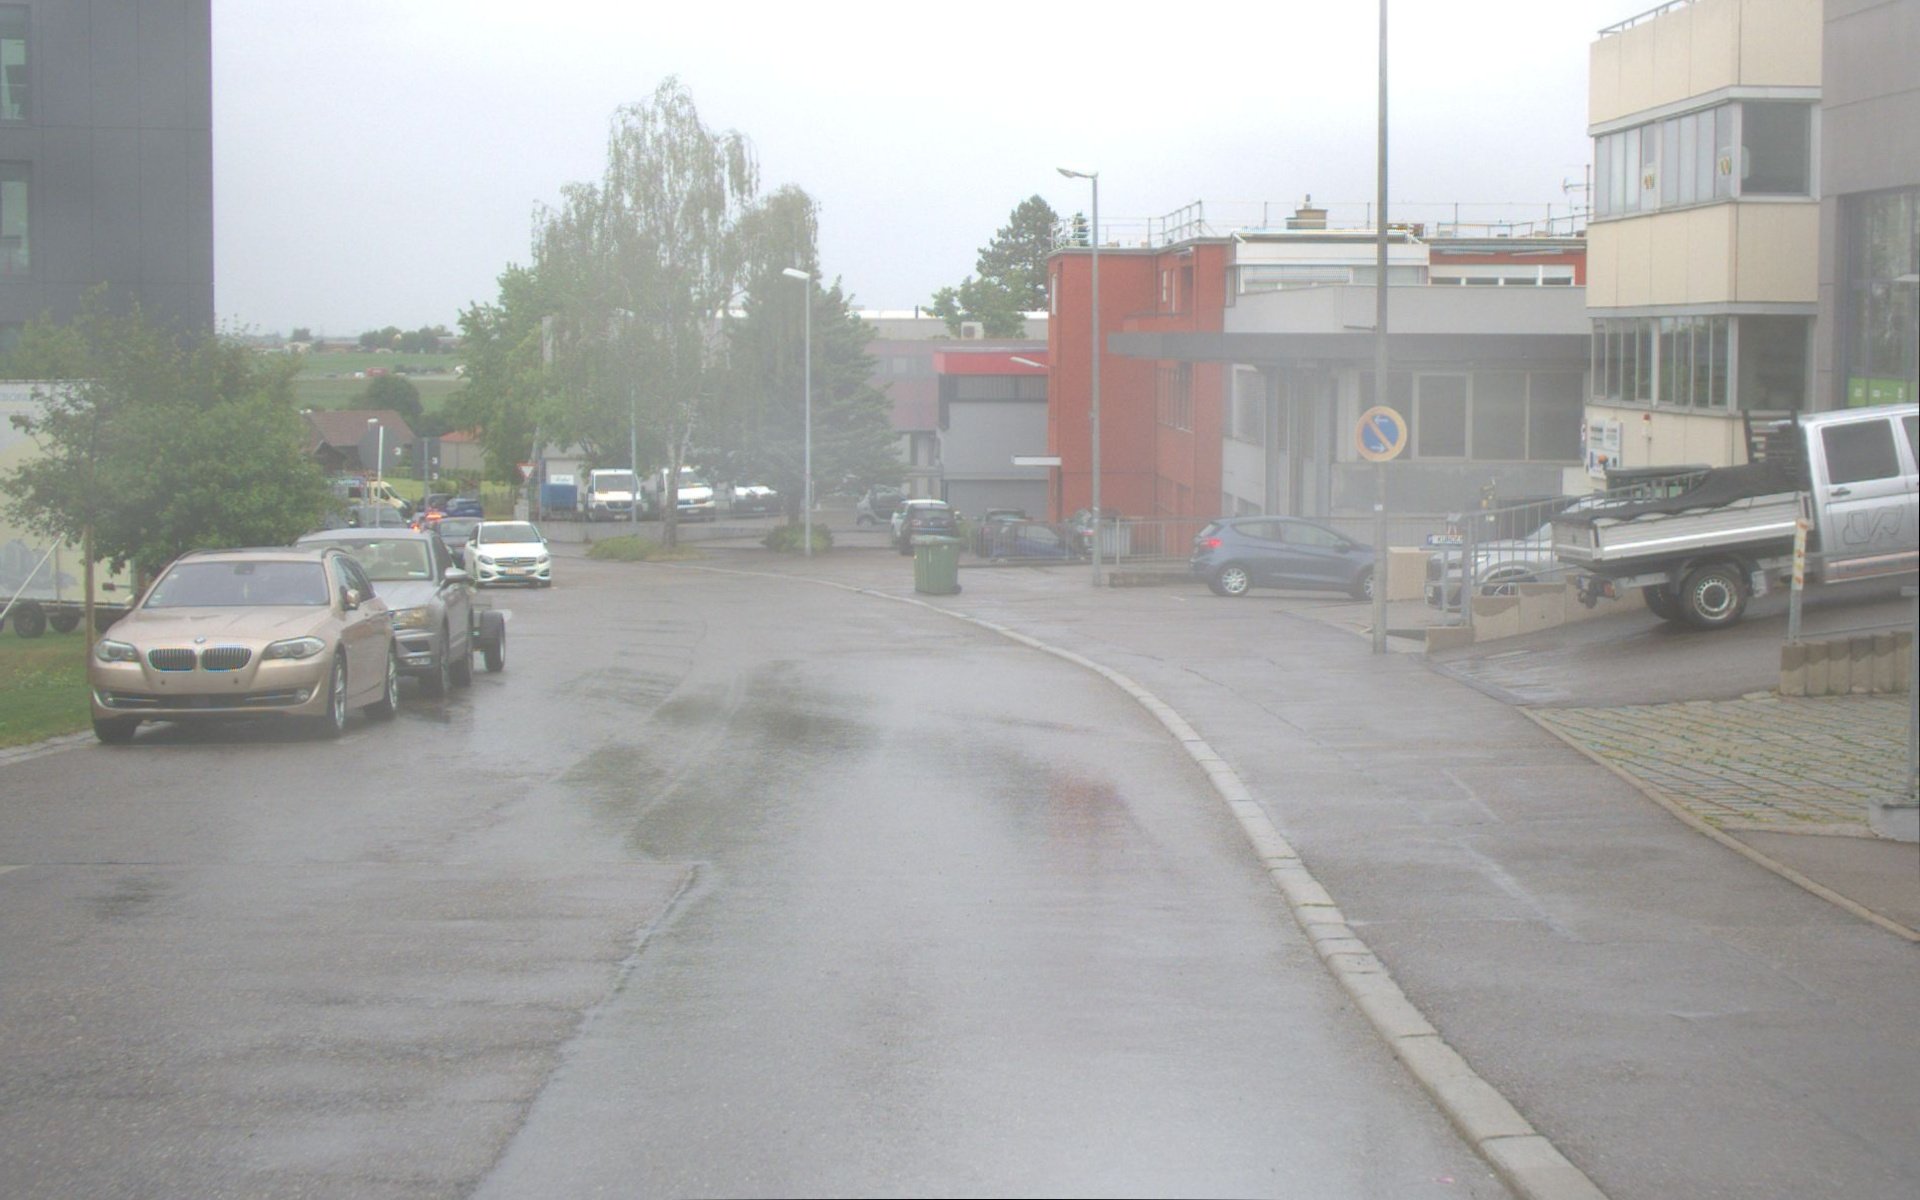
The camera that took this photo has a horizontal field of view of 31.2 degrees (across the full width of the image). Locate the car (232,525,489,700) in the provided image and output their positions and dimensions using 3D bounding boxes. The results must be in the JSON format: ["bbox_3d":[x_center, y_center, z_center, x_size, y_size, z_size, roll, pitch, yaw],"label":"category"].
[{"bbox_3d":[-5.882,0.089,34.235,1.957,1.571,4.841,-1,1,-3],"label":"car"}]

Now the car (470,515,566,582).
[{"bbox_3d":[-10.550,-1.218,81.870,1.769,1.507,4.146,-2,1,-14],"label":"car"}]

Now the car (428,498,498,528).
[{"bbox_3d":[-26.691,-4.646,184.639,2.460,1.534,4.000,-1,1,-29],"label":"car"}]

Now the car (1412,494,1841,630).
[{"bbox_3d":[8.523,-0.507,44.213,5.091,1.608,1.925,-1,2,-2],"label":"car"}]

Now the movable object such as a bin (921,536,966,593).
[{"bbox_3d":[-0.316,-0.683,65.780,0.775,1.072,0.584,-1,2,-7],"label":"movable object such as a bin"}]

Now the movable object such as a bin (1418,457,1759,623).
[{"bbox_3d":[8.398,-0.812,46.098,4.254,2.103,1.477,-1,1,-1],"label":"movable object such as a bin"}]

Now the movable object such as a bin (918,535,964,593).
[{"bbox_3d":[-0.374,-0.699,66.352,0.809,1.087,0.542,-1,2,-7],"label":"movable object such as a bin"}]

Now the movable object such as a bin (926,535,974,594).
[{"bbox_3d":[-0.192,-0.672,65.136,0.806,1.089,0.709,-1,2,-7],"label":"movable object such as a bin"}]

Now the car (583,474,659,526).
[{"bbox_3d":[-13.788,-4.038,139.617,2.264,2.007,4.001,-1,1,-17],"label":"car"}]

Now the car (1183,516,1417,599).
[{"bbox_3d":[6.005,-0.748,61.021,3.894,1.379,1.821,1,1,-3],"label":"car"}]

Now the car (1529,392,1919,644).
[{"bbox_3d":[8.749,-0.955,34.952,5.298,2.006,2.222,-8,1,-2],"label":"car"}]

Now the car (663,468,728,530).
[{"bbox_3d":[-10.798,-4.092,140.153,2.192,2.451,4.001,-1,1,-10],"label":"car"}]

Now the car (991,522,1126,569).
[{"bbox_3d":[2.499,-1.400,87.835,3.400,1.159,1.792,0,2,0],"label":"car"}]

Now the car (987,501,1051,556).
[{"bbox_3d":[1.804,-2.191,106.321,1.739,1.648,4.000,-1,1,-2],"label":"car"}]

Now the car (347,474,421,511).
[{"bbox_3d":[-36.556,-6.812,218.262,4.241,2.218,2.000,-1,1,4],"label":"car"}]

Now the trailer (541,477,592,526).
[{"bbox_3d":[-16.437,-4.095,143.536,1.852,2.006,4.001,-1,2,-10],"label":"trailer"}]

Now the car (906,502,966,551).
[{"bbox_3d":[-0.756,-2.241,105.564,1.697,1.470,4.000,-1,1,-2],"label":"car"}]

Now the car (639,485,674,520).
[{"bbox_3d":[-12.877,-4.132,145.683,1.290,1.419,2.547,-1,1,-9],"label":"car"}]

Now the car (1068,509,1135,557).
[{"bbox_3d":[4.325,-2.033,105.416,1.729,1.417,4.000,-1,1,-2],"label":"car"}]

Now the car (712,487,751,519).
[{"bbox_3d":[-9.767,-4.149,146.790,1.398,1.321,2.702,-1,1,-9],"label":"car"}]

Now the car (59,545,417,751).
[{"bbox_3d":[-5.709,0.307,27.862,1.956,1.456,5.248,-1,1,-2],"label":"car"}]

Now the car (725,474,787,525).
[{"bbox_3d":[-8.393,-4.118,141.212,2.145,2.007,3.940,-1,1,-9],"label":"car"}]

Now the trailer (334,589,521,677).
[{"bbox_3d":[-5.929,0.348,38.622,1.680,0.885,3.898,-1,1,-3],"label":"trailer"}]

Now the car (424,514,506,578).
[{"bbox_3d":[-13.378,-1.468,92.789,1.700,1.604,4.002,-2,2,-15],"label":"car"}]

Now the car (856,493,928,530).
[{"bbox_3d":[-2.517,-3.299,127.612,2.547,1.347,1.242,0,2,-7],"label":"car"}]

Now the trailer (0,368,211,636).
[{"bbox_3d":[-14.391,-1.560,55.802,4.182,4.188,2.002,0,1,36],"label":"trailer"}]
